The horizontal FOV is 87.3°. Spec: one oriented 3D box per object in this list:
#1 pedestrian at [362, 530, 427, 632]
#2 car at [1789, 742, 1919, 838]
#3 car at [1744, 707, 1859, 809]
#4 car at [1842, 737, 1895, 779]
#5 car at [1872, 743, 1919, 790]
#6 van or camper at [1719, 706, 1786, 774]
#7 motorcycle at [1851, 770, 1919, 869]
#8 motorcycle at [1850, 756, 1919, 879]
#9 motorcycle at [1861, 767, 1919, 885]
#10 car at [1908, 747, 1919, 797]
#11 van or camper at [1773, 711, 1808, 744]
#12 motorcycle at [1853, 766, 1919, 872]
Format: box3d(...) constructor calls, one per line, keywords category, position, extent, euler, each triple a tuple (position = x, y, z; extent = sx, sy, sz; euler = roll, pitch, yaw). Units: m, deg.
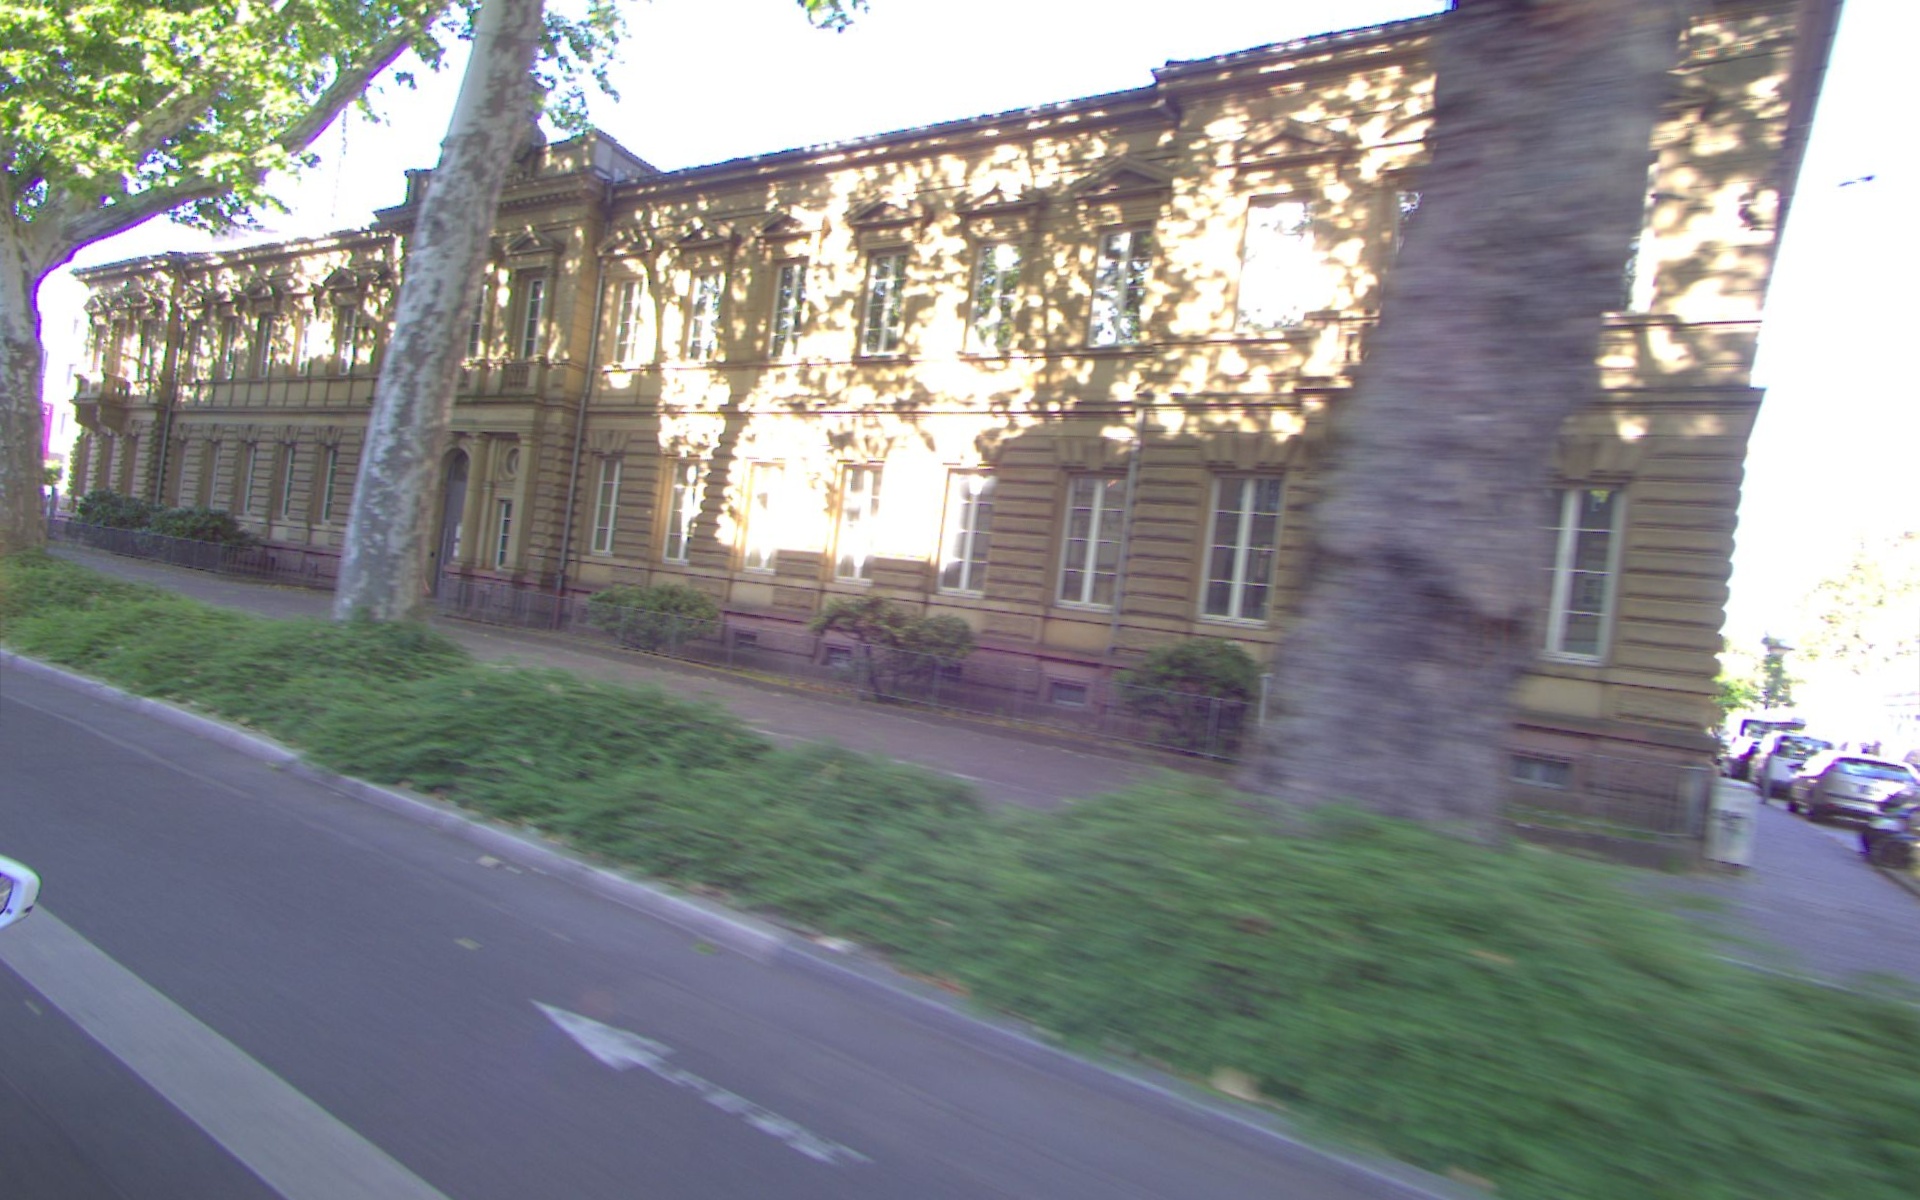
box3d(category="pedestrian", position=(-9.815, -0.332, 17.446), extent=(0.645, 1.651, 0.862), euler=(9, -2, -40))
box3d(category="car", position=(18.418, 3.842, 20.835), extent=(1.606, 1.568, 3.474), euler=(4, -3, 36))
box3d(category="car", position=(23.304, 4.312, 28.007), extent=(1.927, 2.375, 4.364), euler=(4, -3, 35))
box3d(category="car", position=(47.452, 8.219, 52.612), extent=(1.606, 1.844, 3.698), euler=(4, -3, 37))
box3d(category="car", position=(41.765, 7.367, 44.510), extent=(1.606, 1.844, 3.698), euler=(4, -3, 37))
box3d(category="van or camper", position=(34.090, 6.014, 43.385), extent=(1.851, 2.547, 4.422), euler=(5, -3, 35))
box3d(category="motorcycle", position=(14.330, 3.276, 14.459), extent=(0.492, 1.311, 2.159), euler=(9, -3, -40))
box3d(category="motorcycle", position=(12.847, 2.913, 12.700), extent=(0.566, 1.448, 2.258), euler=(9, -1, -43))
box3d(category="motorcycle", position=(12.150, 2.848, 11.813), extent=(0.492, 1.311, 2.158), euler=(9, -1, -40))
box3d(category="car", position=(37.622, 6.676, 38.370), extent=(1.606, 1.844, 3.698), euler=(4, -3, 37))
box3d(category="van or camper", position=(64.597, 9.939, 78.274), extent=(1.606, 2.301, 4.778), euler=(4, -3, 36))
box3d(category="motorcycle", position=(13.557, 3.095, 13.538), extent=(0.492, 1.311, 2.159), euler=(9, -2, -40))
